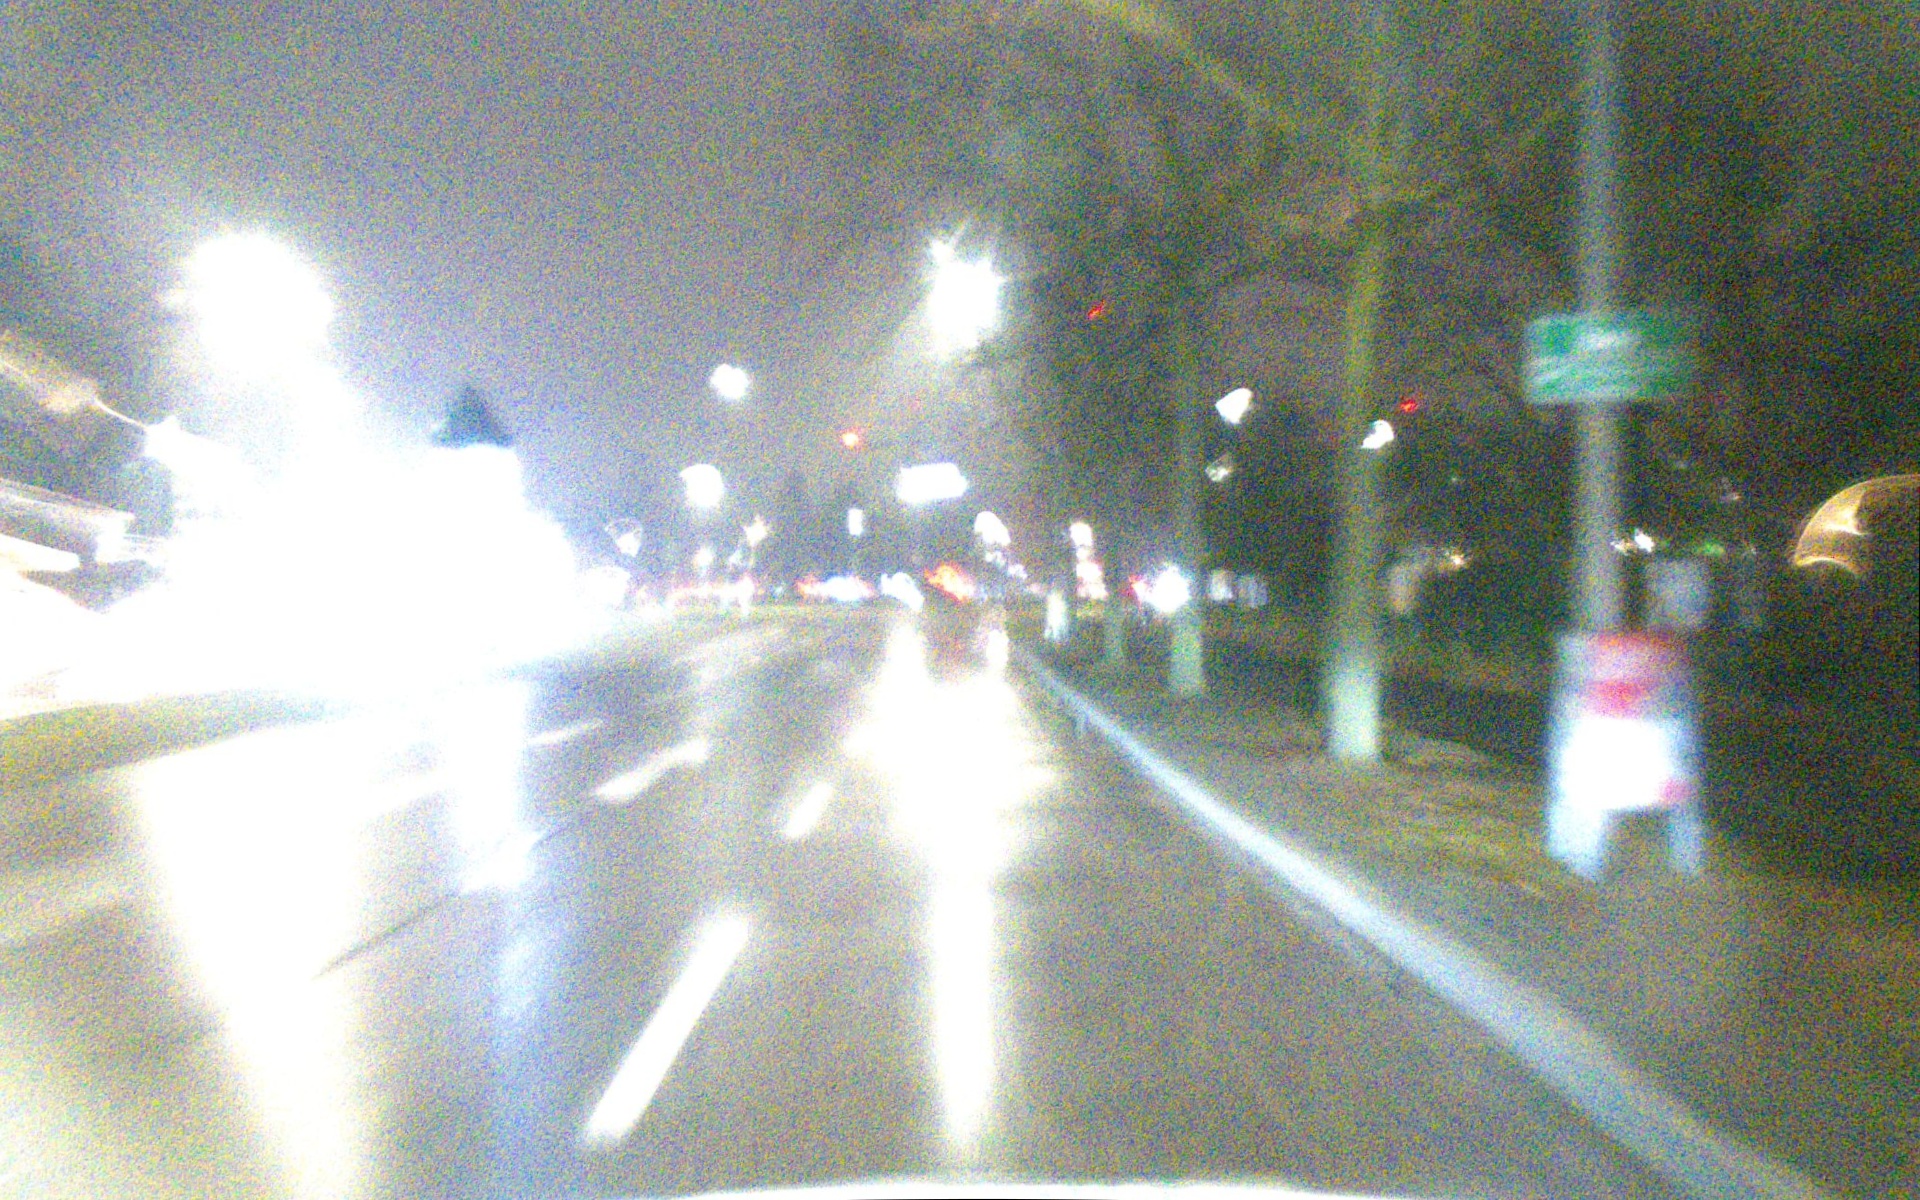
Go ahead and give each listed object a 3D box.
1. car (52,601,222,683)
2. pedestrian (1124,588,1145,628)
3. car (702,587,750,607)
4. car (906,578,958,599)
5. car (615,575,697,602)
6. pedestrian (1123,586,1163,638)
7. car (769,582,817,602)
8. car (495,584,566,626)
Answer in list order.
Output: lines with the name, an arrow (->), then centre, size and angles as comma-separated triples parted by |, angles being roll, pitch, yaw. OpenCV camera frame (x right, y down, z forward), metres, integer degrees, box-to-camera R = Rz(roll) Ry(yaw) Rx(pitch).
car -> -19.242, 0.934, 38.887 | 1.792, 1.743, 4.440 | 1, 0, -1
pedestrian -> 6.867, 0.310, 64.969 | 0.711, 1.511, 0.836 | 1, 0, -1
car -> -19.452, -0.245, 137.863 | 3.912, 1.644, 1.834 | 1, 0, -8
car -> -2.315, -0.930, 136.061 | 3.908, 1.644, 1.835 | 1, 0, 25
car -> -24.916, -0.922, 135.788 | 6.214, 2.125, 2.495 | 1, 0, -26
pedestrian -> 6.503, 0.420, 58.904 | 1.202, 1.825, 1.490 | 1, 0, -1
car -> -13.877, -0.637, 137.784 | 3.873, 1.606, 1.736 | 1, 0, -3
car -> -16.292, 0.165, 62.902 | 1.792, 1.490, 3.998 | 1, 0, -3
